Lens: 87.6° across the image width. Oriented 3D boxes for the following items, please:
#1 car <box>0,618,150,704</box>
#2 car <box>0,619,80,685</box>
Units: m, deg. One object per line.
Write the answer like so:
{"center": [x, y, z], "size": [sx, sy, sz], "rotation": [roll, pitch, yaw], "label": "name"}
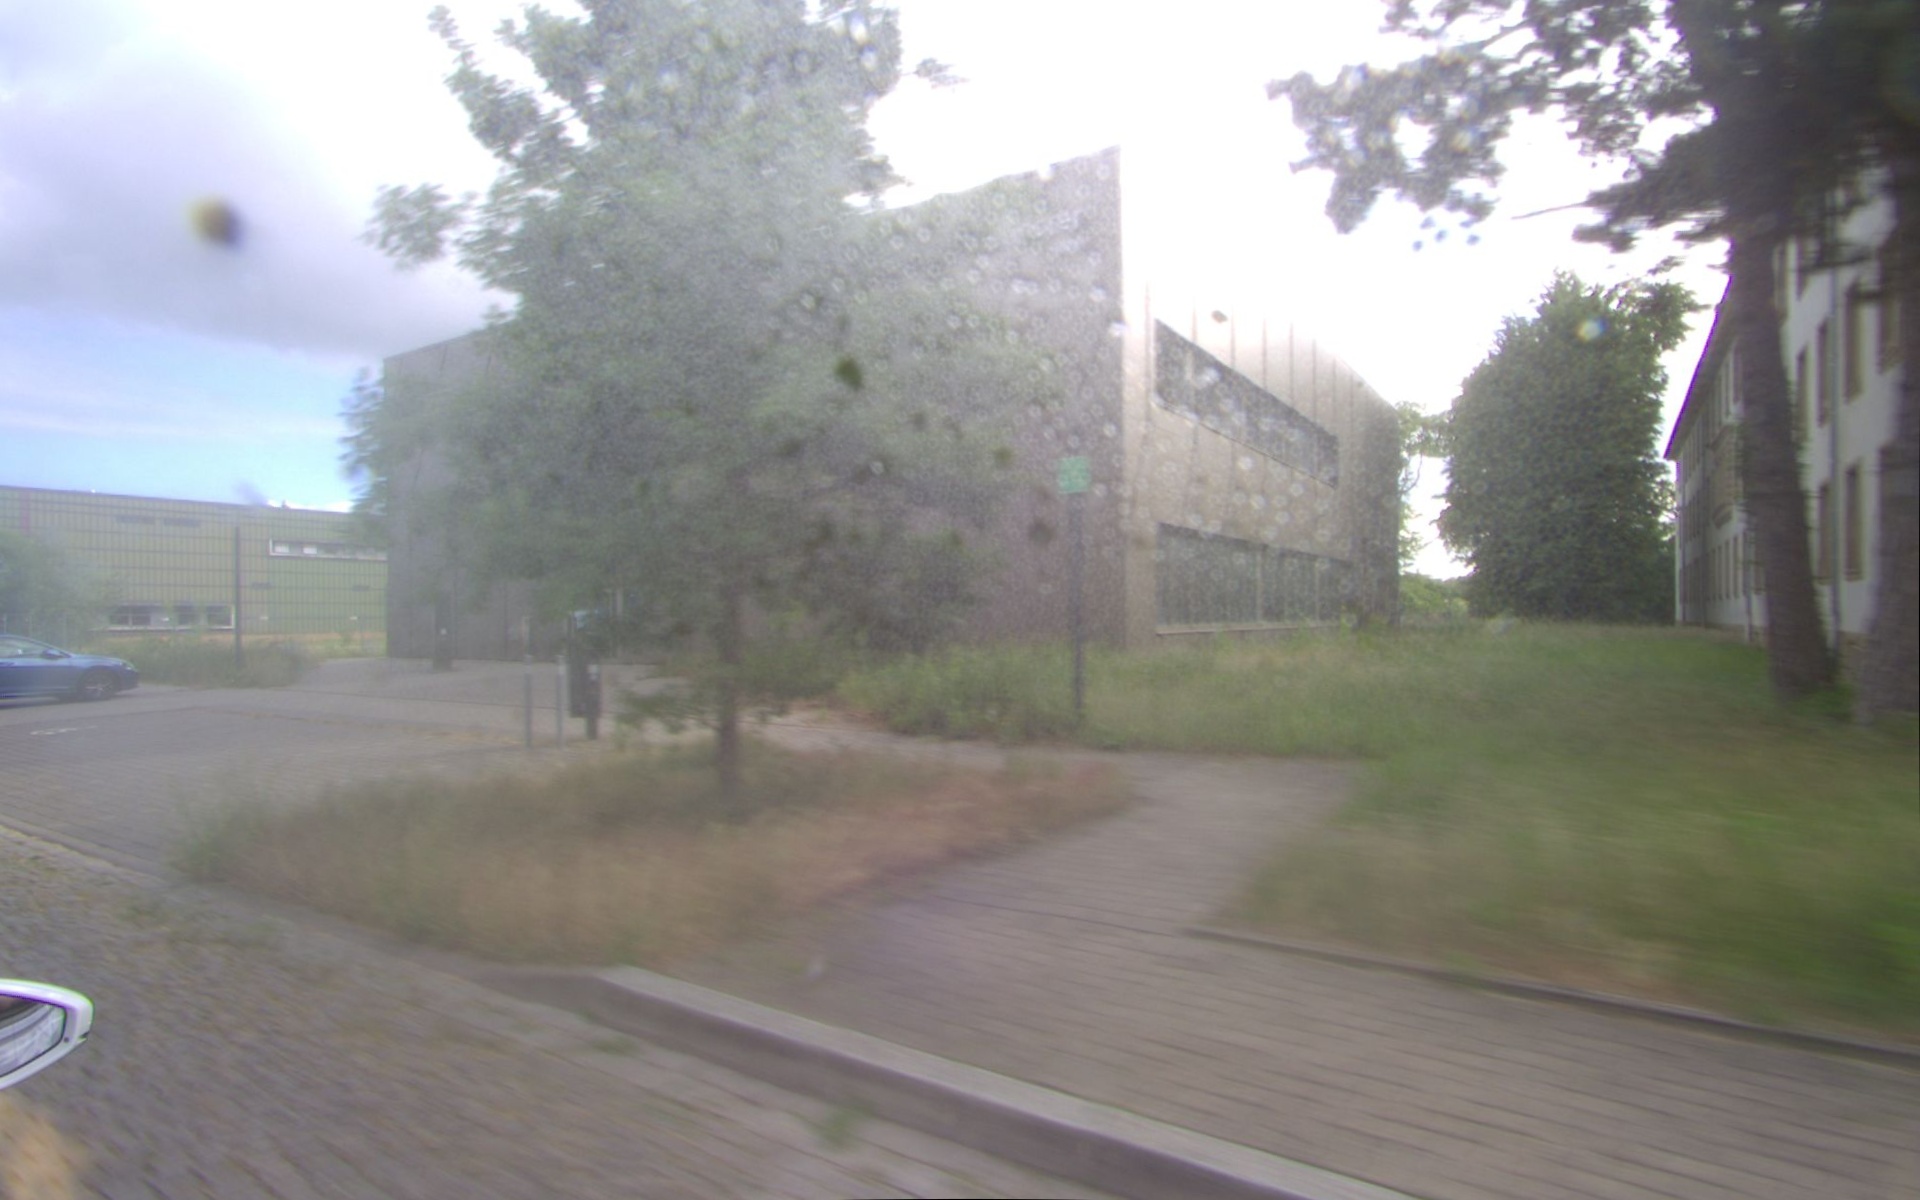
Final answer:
{"center": [-18.962, 1.202, 19.528], "size": [1.970, 1.552, 4.510], "rotation": [-1, 0, 30], "label": "car"}
{"center": [-24.562, 1.312, 24.273], "size": [1.972, 1.552, 4.505], "rotation": [-1, 0, 34], "label": "car"}
